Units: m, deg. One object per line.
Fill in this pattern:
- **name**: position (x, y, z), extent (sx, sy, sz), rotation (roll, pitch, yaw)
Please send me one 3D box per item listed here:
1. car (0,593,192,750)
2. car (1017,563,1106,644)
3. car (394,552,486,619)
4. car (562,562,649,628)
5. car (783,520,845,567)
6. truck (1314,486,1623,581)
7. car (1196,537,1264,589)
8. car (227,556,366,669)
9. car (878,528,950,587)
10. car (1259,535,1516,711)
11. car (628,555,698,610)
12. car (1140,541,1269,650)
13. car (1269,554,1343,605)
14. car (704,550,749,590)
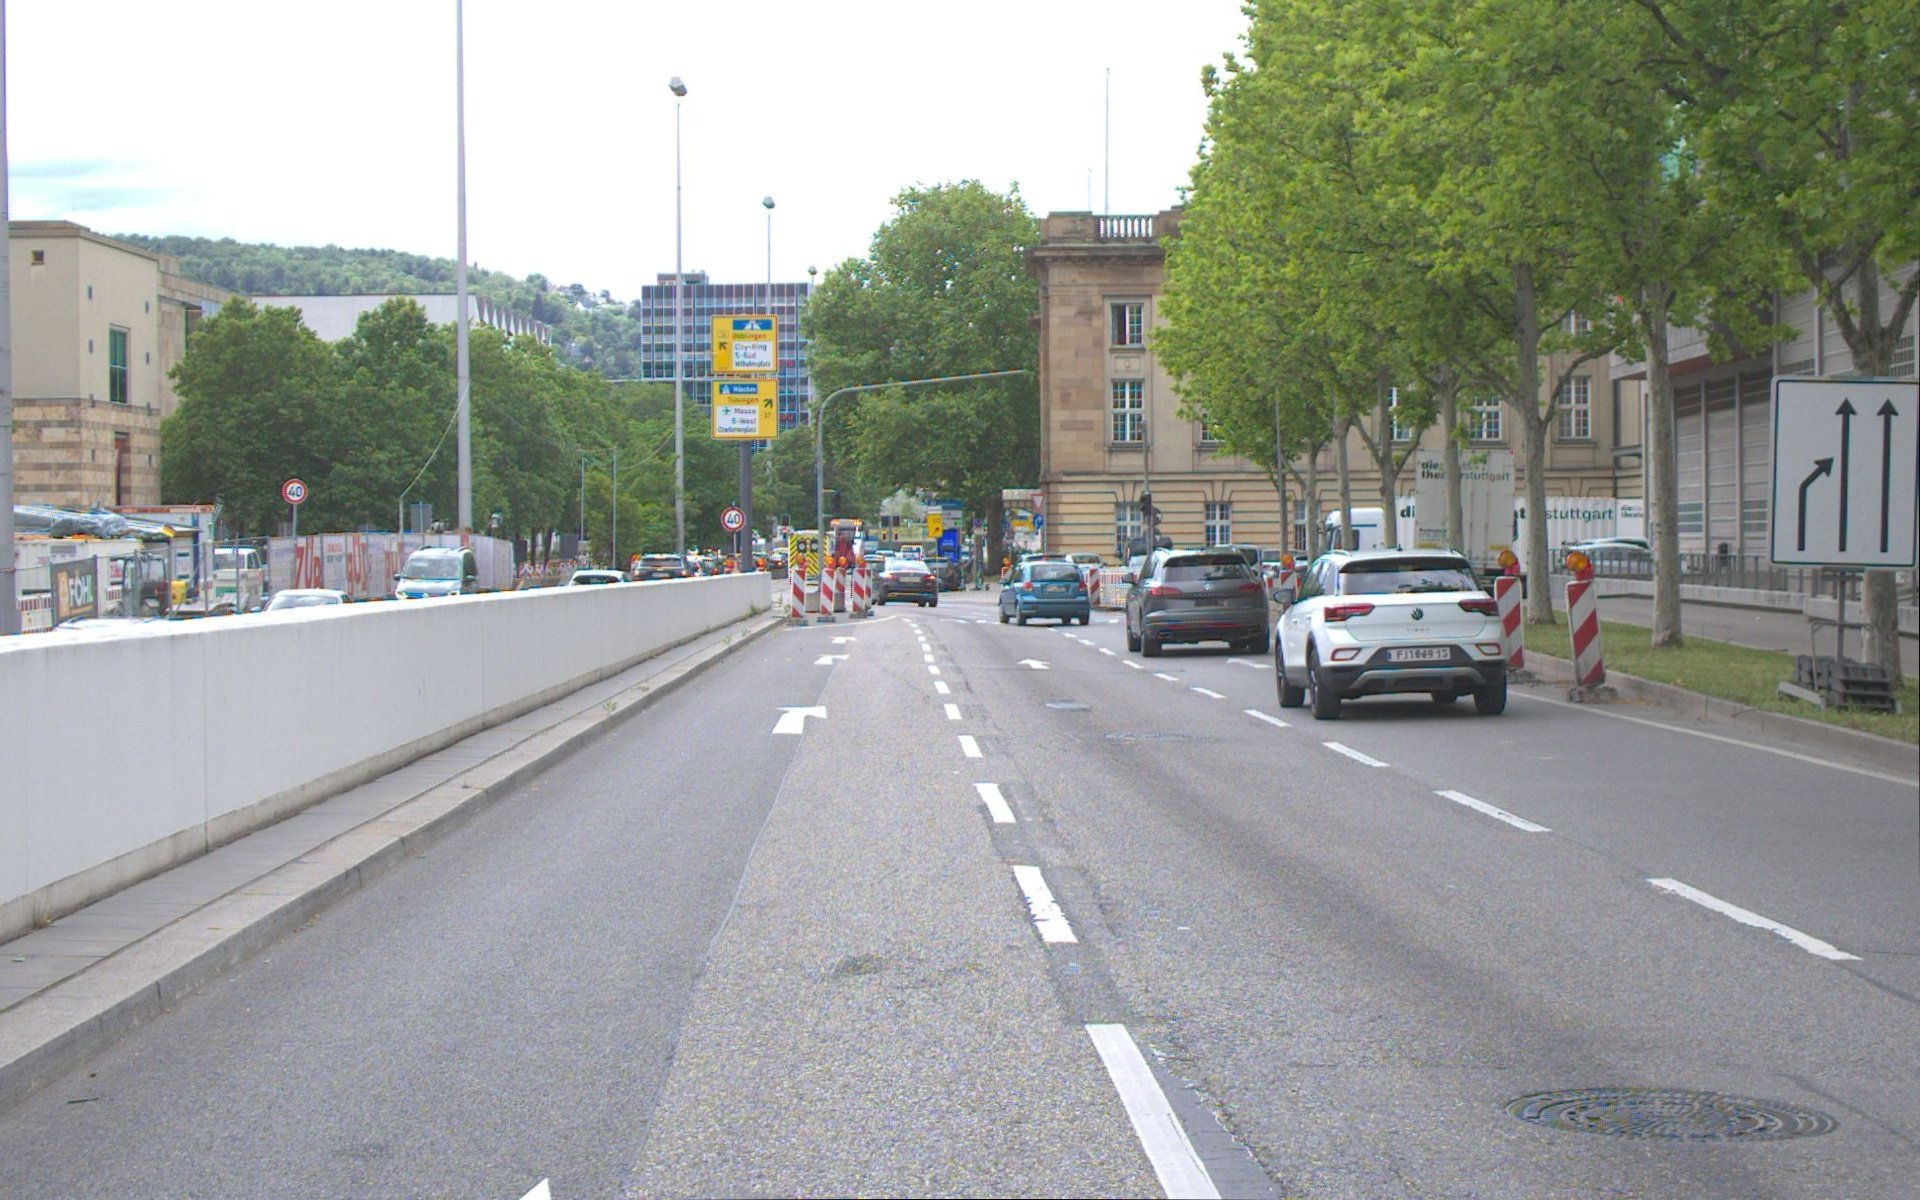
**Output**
- **car**: position (-12.582, 0.996, 49.984), extent (1.993, 2.006, 4.001), rotation (-1, 2, -1)
- **car**: position (2.354, 0.046, 78.798), extent (1.823, 1.734, 4.479), rotation (-1, 1, 4)
- **car**: position (-13.155, -0.379, 87.114), extent (1.750, 1.562, 3.377), rotation (-3, 1, 0)
- **car**: position (-8.651, -0.133, 84.024), extent (1.750, 1.562, 3.377), rotation (1, 1, 0)
- **car**: position (-7.449, -2.903, 176.528), extent (2.582, 2.366, 5.526), rotation (-1, 1, 4)
- **truck**: position (17.124, -2.230, 116.118), extent (10.029, 3.040, 2.569), rotation (-1, 0, 0)
- **car**: position (8.473, -1.142, 108.016), extent (1.750, 1.562, 4.331), rotation (0, 0, 0)
- **car**: position (-12.912, 0.219, 67.153), extent (1.993, 2.006, 4.001), rotation (-1, 2, -1)
- **car**: position (-1.394, -1.326, 106.158), extent (1.823, 1.734, 4.479), rotation (-1, 1, 4)
- **car**: position (4.040, 0.165, 33.128), extent (1.750, 1.562, 4.332), rotation (-1, 1, -2)
- **car**: position (-9.004, -0.550, 104.407), extent (1.750, 1.562, 3.377), rotation (-3, 1, 0)
- **car**: position (3.821, -0.110, 54.312), extent (1.823, 1.562, 4.479), rotation (-3, 1, 2)
- **car**: position (10.864, -0.635, 108.041), extent (1.856, 1.562, 4.331), rotation (0, 0, 0)
- **car**: position (-9.336, -1.210, 137.493), extent (1.750, 1.562, 4.332), rotation (0, 0, -4)
